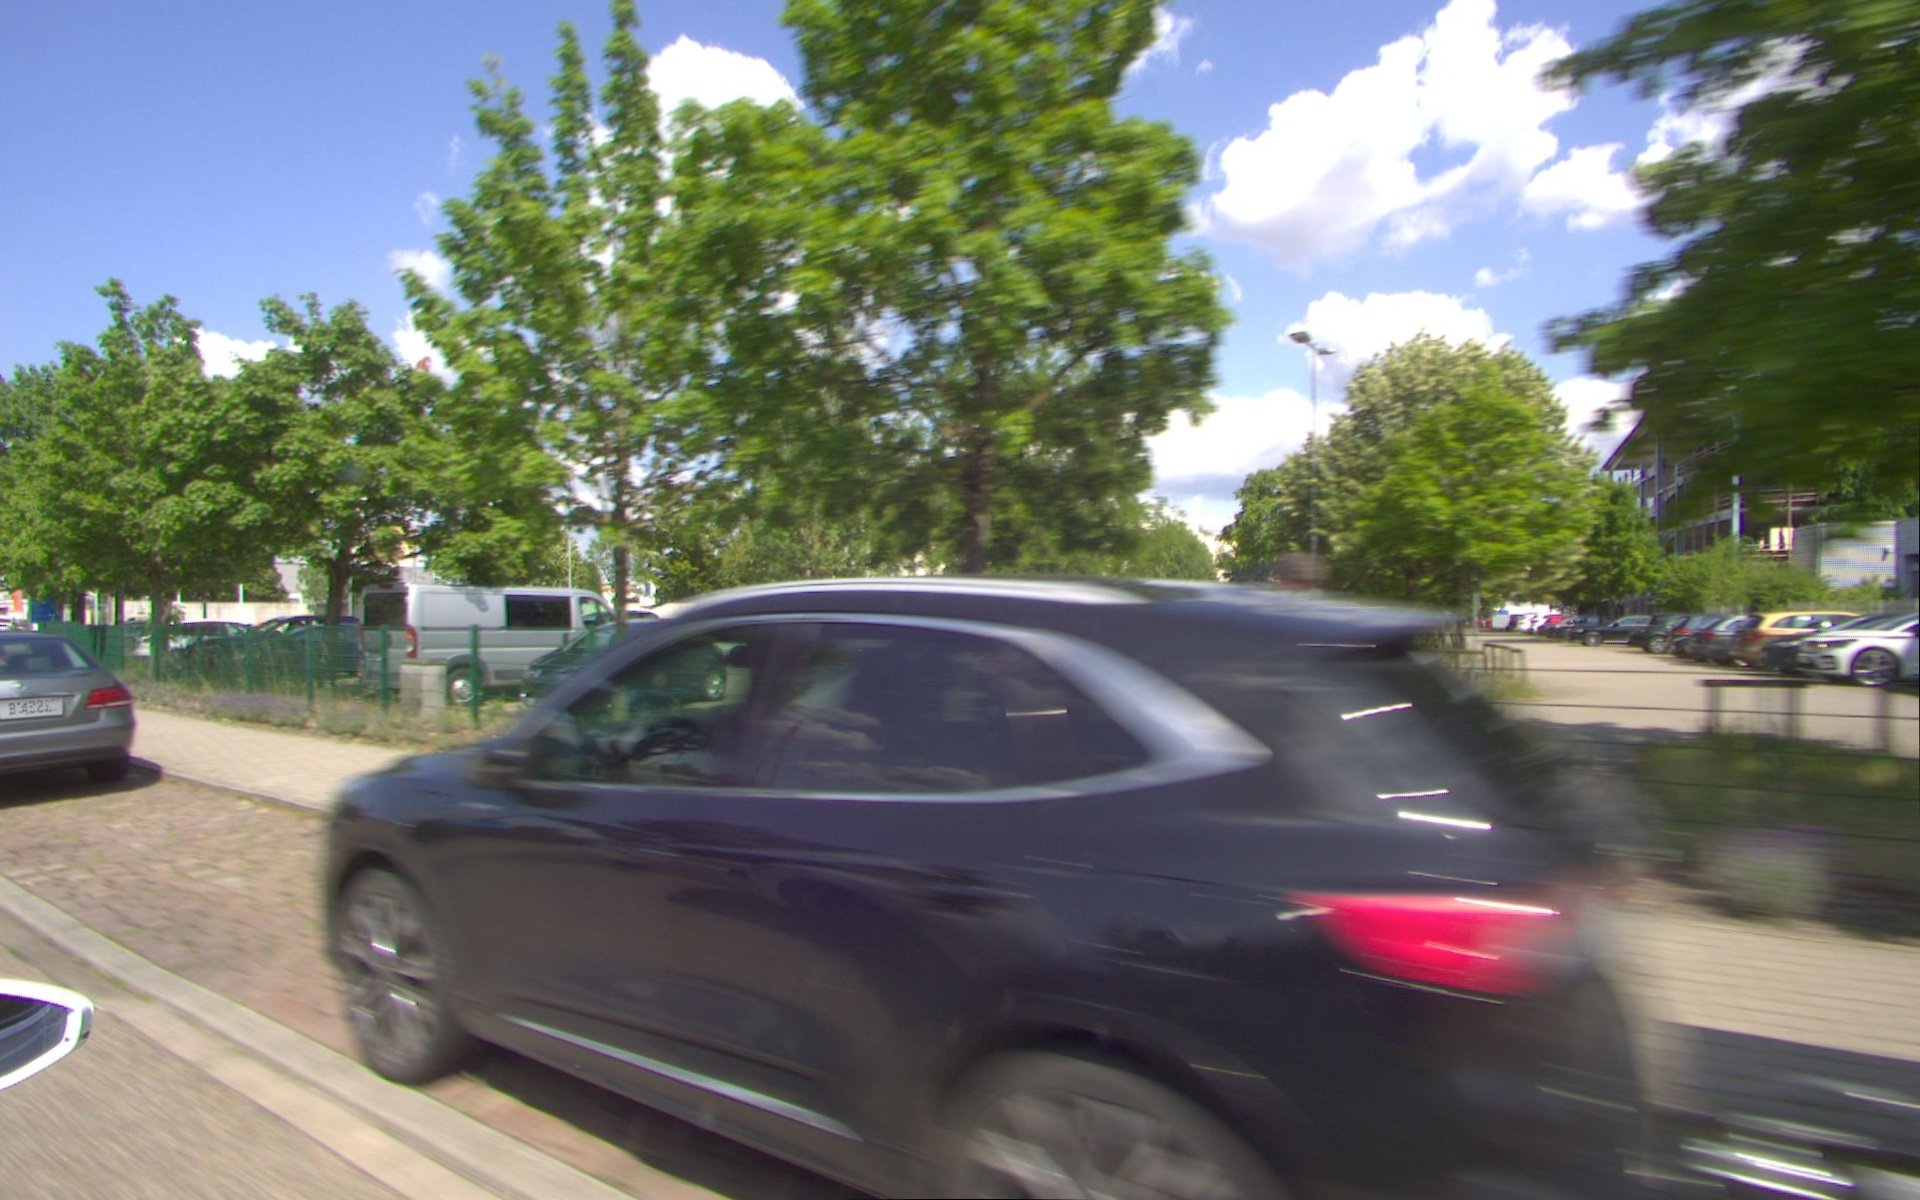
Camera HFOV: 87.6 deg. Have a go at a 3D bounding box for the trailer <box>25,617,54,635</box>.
[{"bbox_3d":[-81.594,2.272,88.720,1.737,1.436,4.506,-4,1,-44],"label":"trailer"}]

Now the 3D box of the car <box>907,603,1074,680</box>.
[{"bbox_3d":[0.893,0.998,25.864,1.890,1.790,4.833,0,0,37],"label":"car"}]

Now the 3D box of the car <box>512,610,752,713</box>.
[{"bbox_3d":[-5.867,1.033,18.305,1.671,1.657,3.975,0,-1,36],"label":"car"}]

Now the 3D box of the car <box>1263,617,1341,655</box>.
[{"bbox_3d":[13.167,1.362,38.459,1.731,1.392,3.685,-1,-2,38],"label":"car"}]

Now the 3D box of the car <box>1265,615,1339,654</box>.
[{"bbox_3d":[13.084,1.338,38.261,1.570,1.430,3.273,-1,-3,41],"label":"car"}]

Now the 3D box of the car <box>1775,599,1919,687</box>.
[{"bbox_3d":[19.267,0.855,19.865,4.458,1.701,1.732,-1,-2,23],"label":"car"}]

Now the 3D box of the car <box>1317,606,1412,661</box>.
[{"bbox_3d":[20.598,1.736,50.834,2.718,2.631,5.753,-1,-3,41],"label":"car"}]

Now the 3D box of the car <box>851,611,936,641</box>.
[{"bbox_3d":[-3.385,1.351,51.428,1.977,1.417,4.249,-1,-3,41],"label":"car"}]

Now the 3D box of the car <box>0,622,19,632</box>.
[{"bbox_3d":[-139.694,3.946,147.016,1.781,1.415,4.468,2,-3,-38],"label":"car"}]

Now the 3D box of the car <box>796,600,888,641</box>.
[{"bbox_3d":[-6.401,1.169,54.745,2.087,2.130,4.905,-1,-3,41],"label":"car"}]

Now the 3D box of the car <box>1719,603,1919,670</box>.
[{"bbox_3d":[21.706,0.946,25.005,3.932,1.567,1.953,-2,-3,22],"label":"car"}]

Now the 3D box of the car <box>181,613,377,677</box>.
[{"bbox_3d":[-19.464,1.285,28.774,1.834,1.692,4.311,-1,-3,38],"label":"car"}]

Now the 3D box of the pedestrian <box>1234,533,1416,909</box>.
[{"bbox_3d":[1.855,0.555,5.057,0.729,1.716,0.719,0,1,31],"label":"pedestrian"}]

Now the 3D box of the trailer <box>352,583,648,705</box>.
[{"bbox_3d":[-8.955,0.803,19.951,2.034,2.109,5.031,-1,-1,36],"label":"trailer"}]

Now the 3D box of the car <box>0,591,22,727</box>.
[{"bbox_3d":[-15.096,0.843,14.228,5.015,1.789,1.842,-1,1,39],"label":"car"}]

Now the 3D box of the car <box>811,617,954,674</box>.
[{"bbox_3d":[-2.066,1.201,27.640,1.780,1.441,3.973,0,-1,37],"label":"car"}]

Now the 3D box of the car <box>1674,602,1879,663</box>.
[{"bbox_3d":[22.353,0.941,27.633,3.934,1.567,1.953,-2,-3,23],"label":"car"}]

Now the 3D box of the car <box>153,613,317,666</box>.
[{"bbox_3d":[-25.130,1.312,34.853,1.742,1.643,4.298,-1,0,38],"label":"car"}]

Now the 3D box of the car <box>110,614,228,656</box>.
[{"bbox_3d":[-33.437,1.459,42.403,3.843,1.658,1.894,0,-1,-40],"label":"car"}]

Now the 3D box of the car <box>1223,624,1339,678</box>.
[{"bbox_3d":[8.965,1.361,27.791,1.815,1.392,3.972,-1,-2,38],"label":"car"}]

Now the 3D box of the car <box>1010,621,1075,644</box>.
[{"bbox_3d":[5.192,2.049,62.735,1.977,1.417,4.249,-1,-3,41],"label":"car"}]

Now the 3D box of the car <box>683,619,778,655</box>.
[{"bbox_3d":[-9.920,1.608,43.476,1.730,1.431,3.736,2,-1,38],"label":"car"}]

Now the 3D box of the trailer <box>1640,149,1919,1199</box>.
[{"bbox_3d":[3.088,0.463,1.011,3.891,2.096,1.741,-1,2,32],"label":"trailer"}]

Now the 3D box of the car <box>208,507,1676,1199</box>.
[{"bbox_3d":[-0.475,0.742,3.399,4.645,1.705,1.855,-1,1,34],"label":"car"}]

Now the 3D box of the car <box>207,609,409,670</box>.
[{"bbox_3d":[-17.570,1.076,27.166,1.609,1.514,4.311,-1,-3,38],"label":"car"}]

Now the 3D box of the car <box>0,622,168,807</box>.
[{"bbox_3d":[-9.759,1.001,9.837,4.804,1.480,1.835,-1,1,36],"label":"car"}]

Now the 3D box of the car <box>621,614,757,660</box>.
[{"bbox_3d":[-9.060,1.229,33.703,4.132,1.455,1.713,1,-1,-43],"label":"car"}]

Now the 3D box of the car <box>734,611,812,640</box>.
[{"bbox_3d":[-10.923,1.500,58.714,1.977,1.576,4.249,-1,-3,41],"label":"car"}]

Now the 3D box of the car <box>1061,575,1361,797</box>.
[{"bbox_3d":[3.045,0.759,11.377,1.972,1.992,4.457,1,1,33],"label":"car"}]

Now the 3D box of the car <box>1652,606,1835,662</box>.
[{"bbox_3d":[23.667,1.062,30.444,3.934,1.567,1.953,-2,-3,23],"label":"car"}]

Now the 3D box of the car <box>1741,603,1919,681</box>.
[{"bbox_3d":[20.225,0.947,22.412,3.934,1.671,1.952,-1,-3,24],"label":"car"}]
